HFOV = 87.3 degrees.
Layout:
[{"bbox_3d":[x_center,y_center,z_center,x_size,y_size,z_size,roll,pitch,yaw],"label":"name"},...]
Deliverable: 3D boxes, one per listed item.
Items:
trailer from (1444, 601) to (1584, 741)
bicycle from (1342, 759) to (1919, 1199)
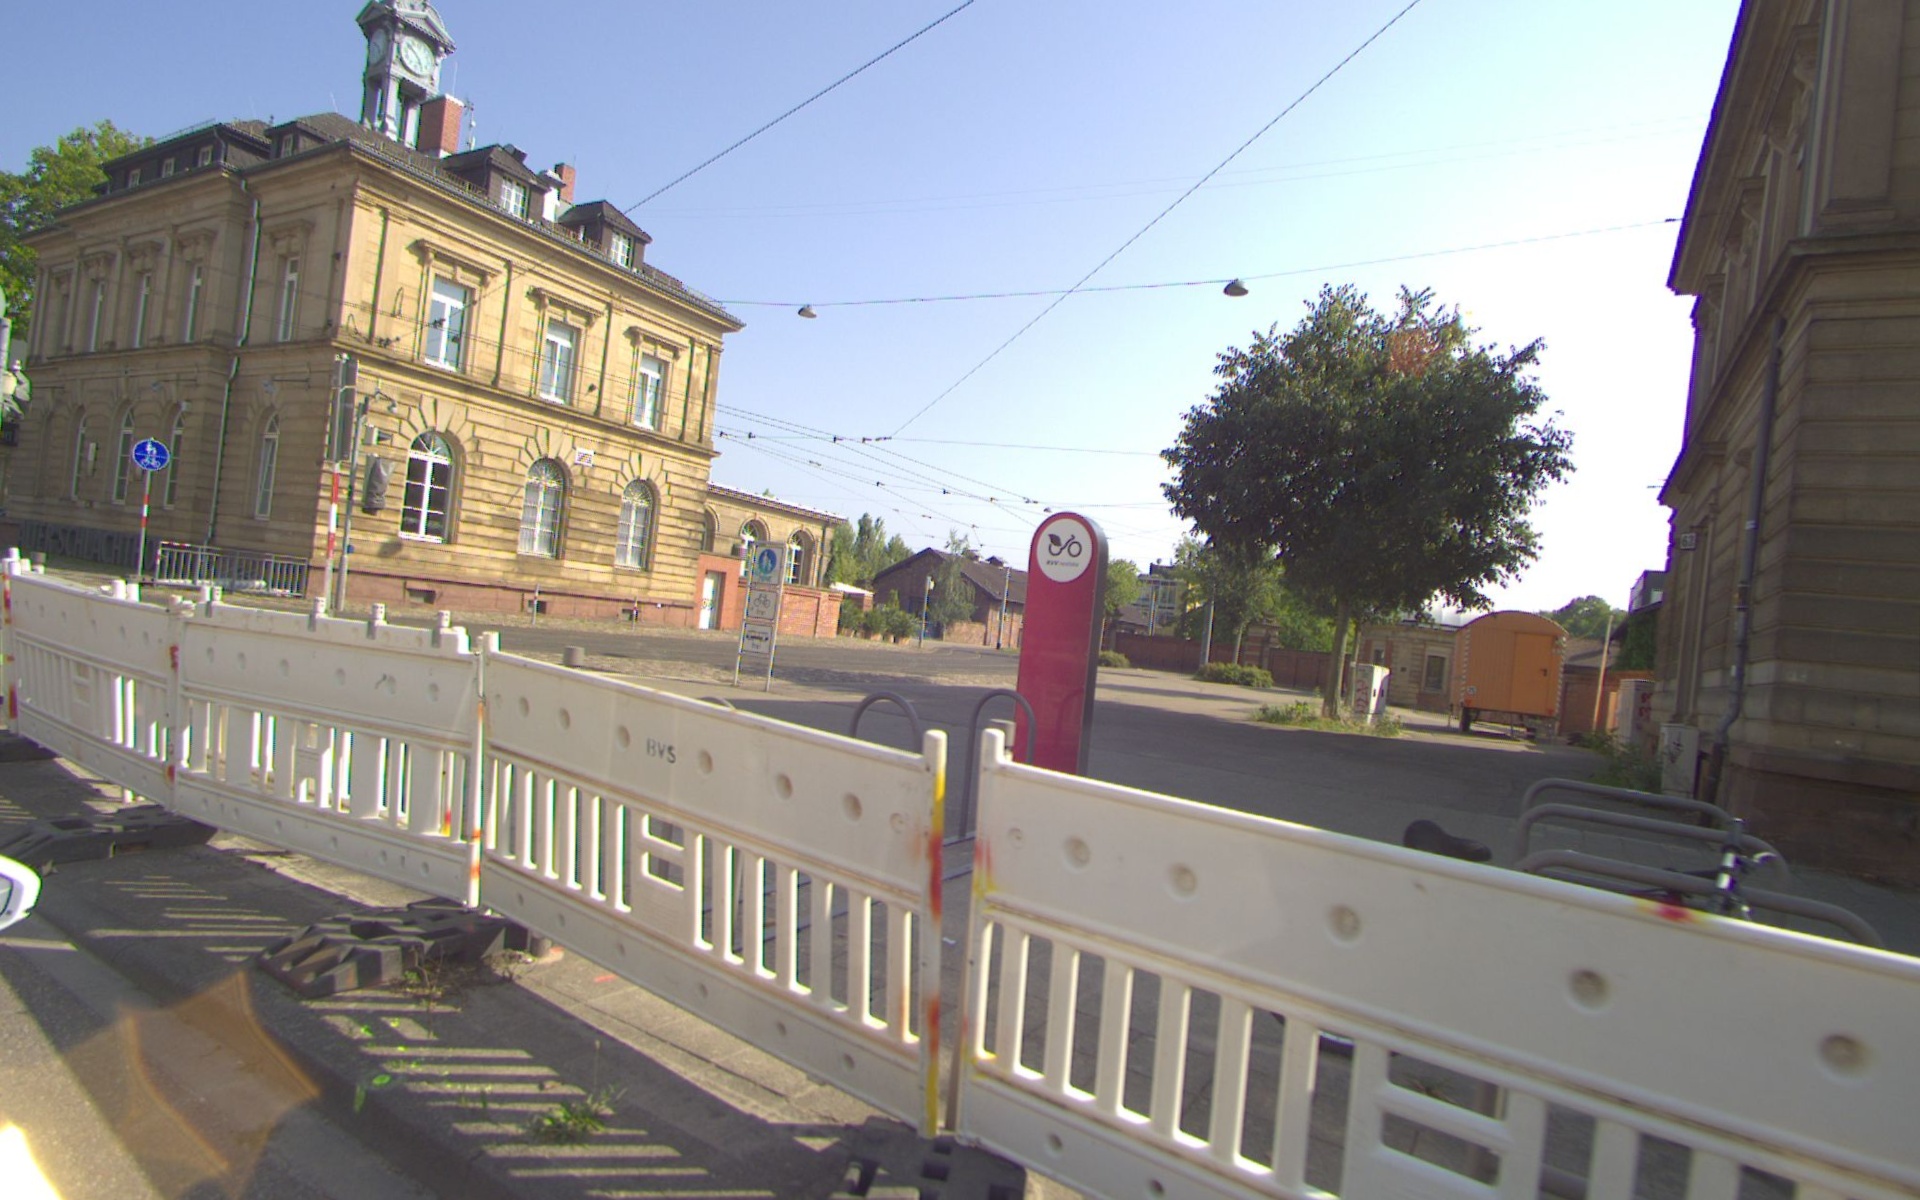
[{"bbox_3d":[14.027,1.790,25.760,2.511,3.105,3.999,4,-2,23],"label":"trailer"},{"bbox_3d":[1.918,1.086,2.937,1.354,0.999,0.410,6,0,34],"label":"bicycle"}]
